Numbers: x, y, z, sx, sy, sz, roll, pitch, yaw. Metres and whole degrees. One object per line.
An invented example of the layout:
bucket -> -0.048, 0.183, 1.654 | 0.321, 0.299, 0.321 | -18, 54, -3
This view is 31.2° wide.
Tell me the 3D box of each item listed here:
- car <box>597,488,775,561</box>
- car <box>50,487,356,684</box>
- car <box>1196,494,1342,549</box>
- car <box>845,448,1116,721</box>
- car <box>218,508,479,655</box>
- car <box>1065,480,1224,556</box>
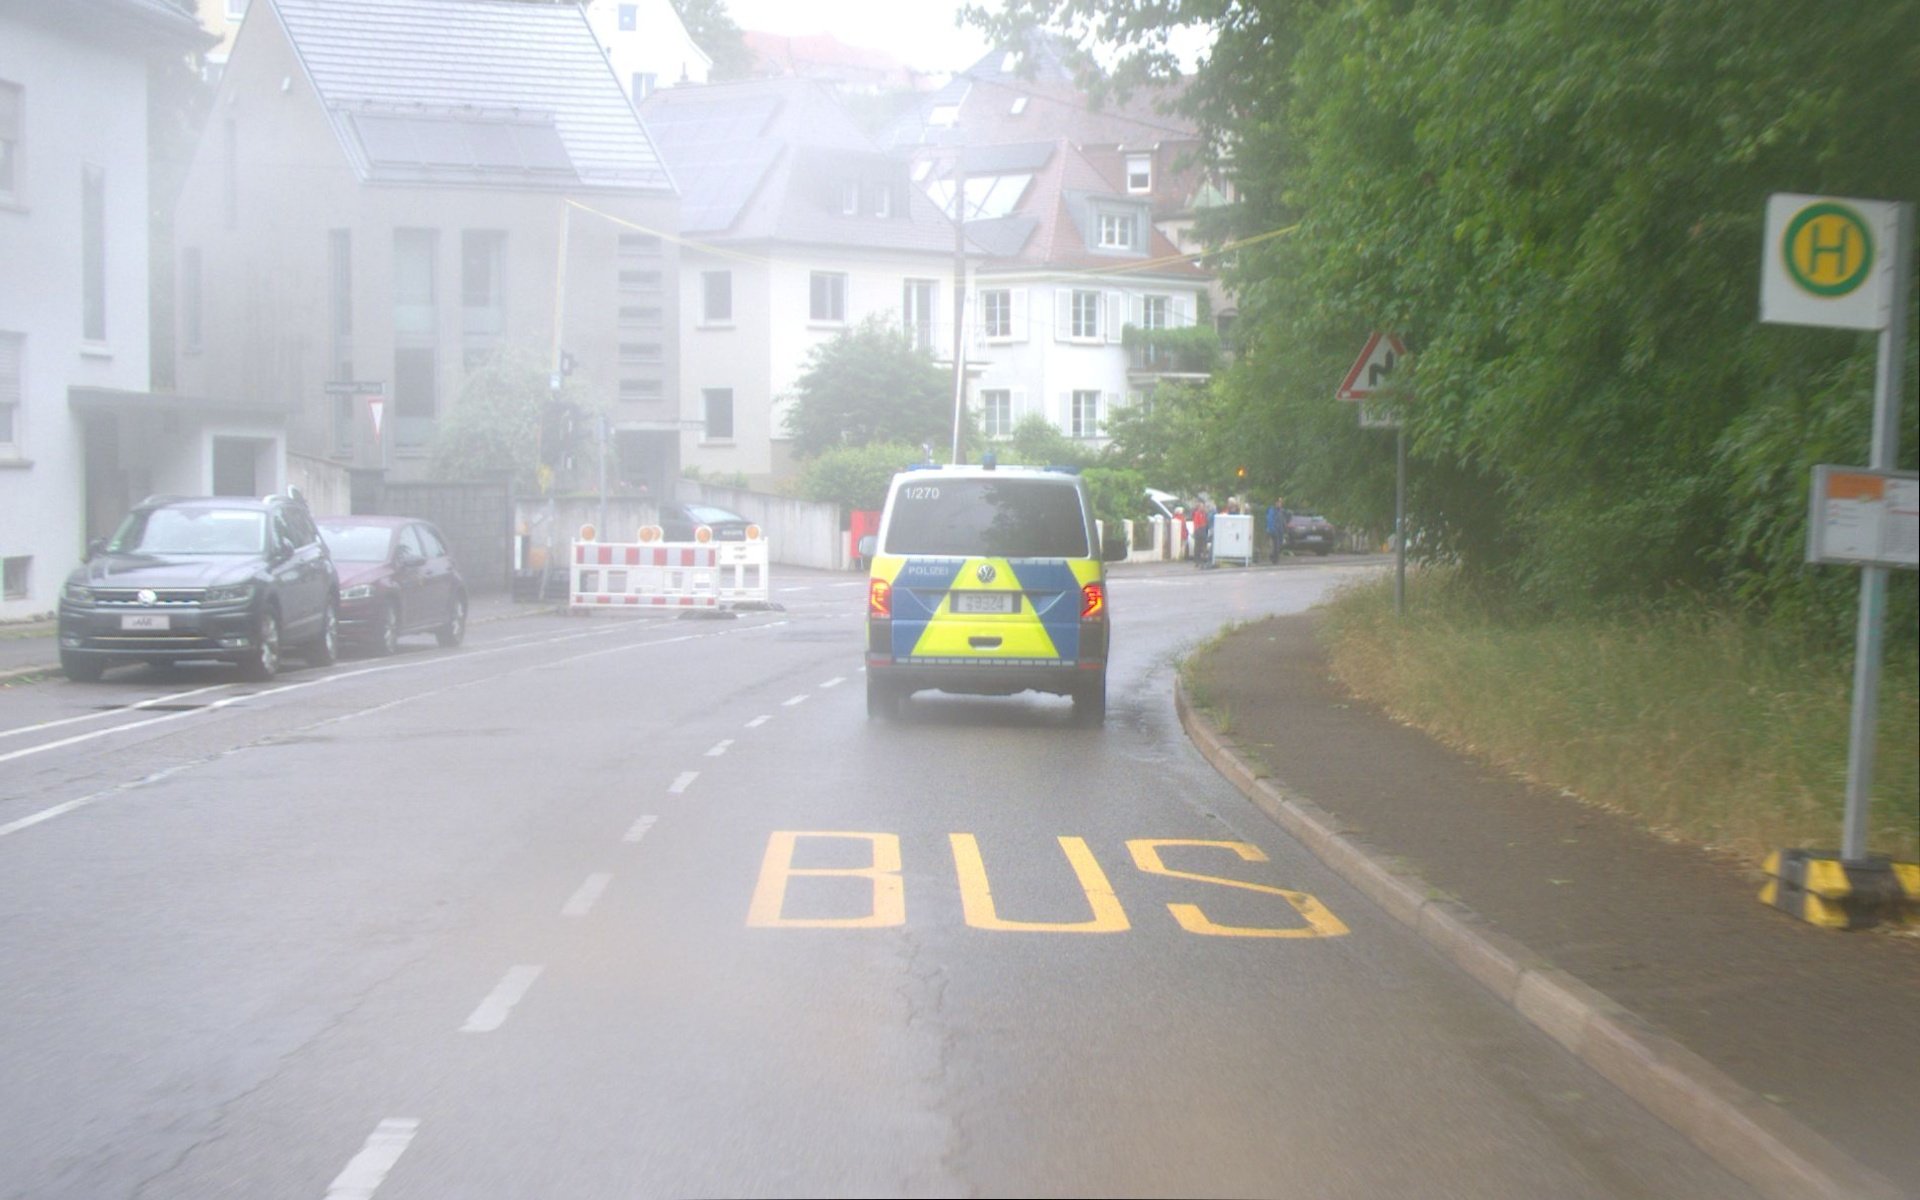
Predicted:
car -> -5.845, -1.627, 72.976 | 1.834, 1.438, 3.999 | -1, 3, -39
car -> -6.892, -0.195, 31.759 | 1.754, 1.653, 4.405 | -1, 2, 1
car -> 9.421, -2.388, 104.903 | 3.994, 1.481, 1.757 | 3, 0, 29
car -> 0.248, -0.194, 27.733 | 1.994, 2.006, 4.402 | 1, 2, 3
car -> -6.518, -0.242, 37.086 | 1.617, 1.435, 4.229 | 1, 2, 7
car -> 5.156, -2.302, 96.223 | 3.994, 2.006, 1.827 | 2, 2, 30
